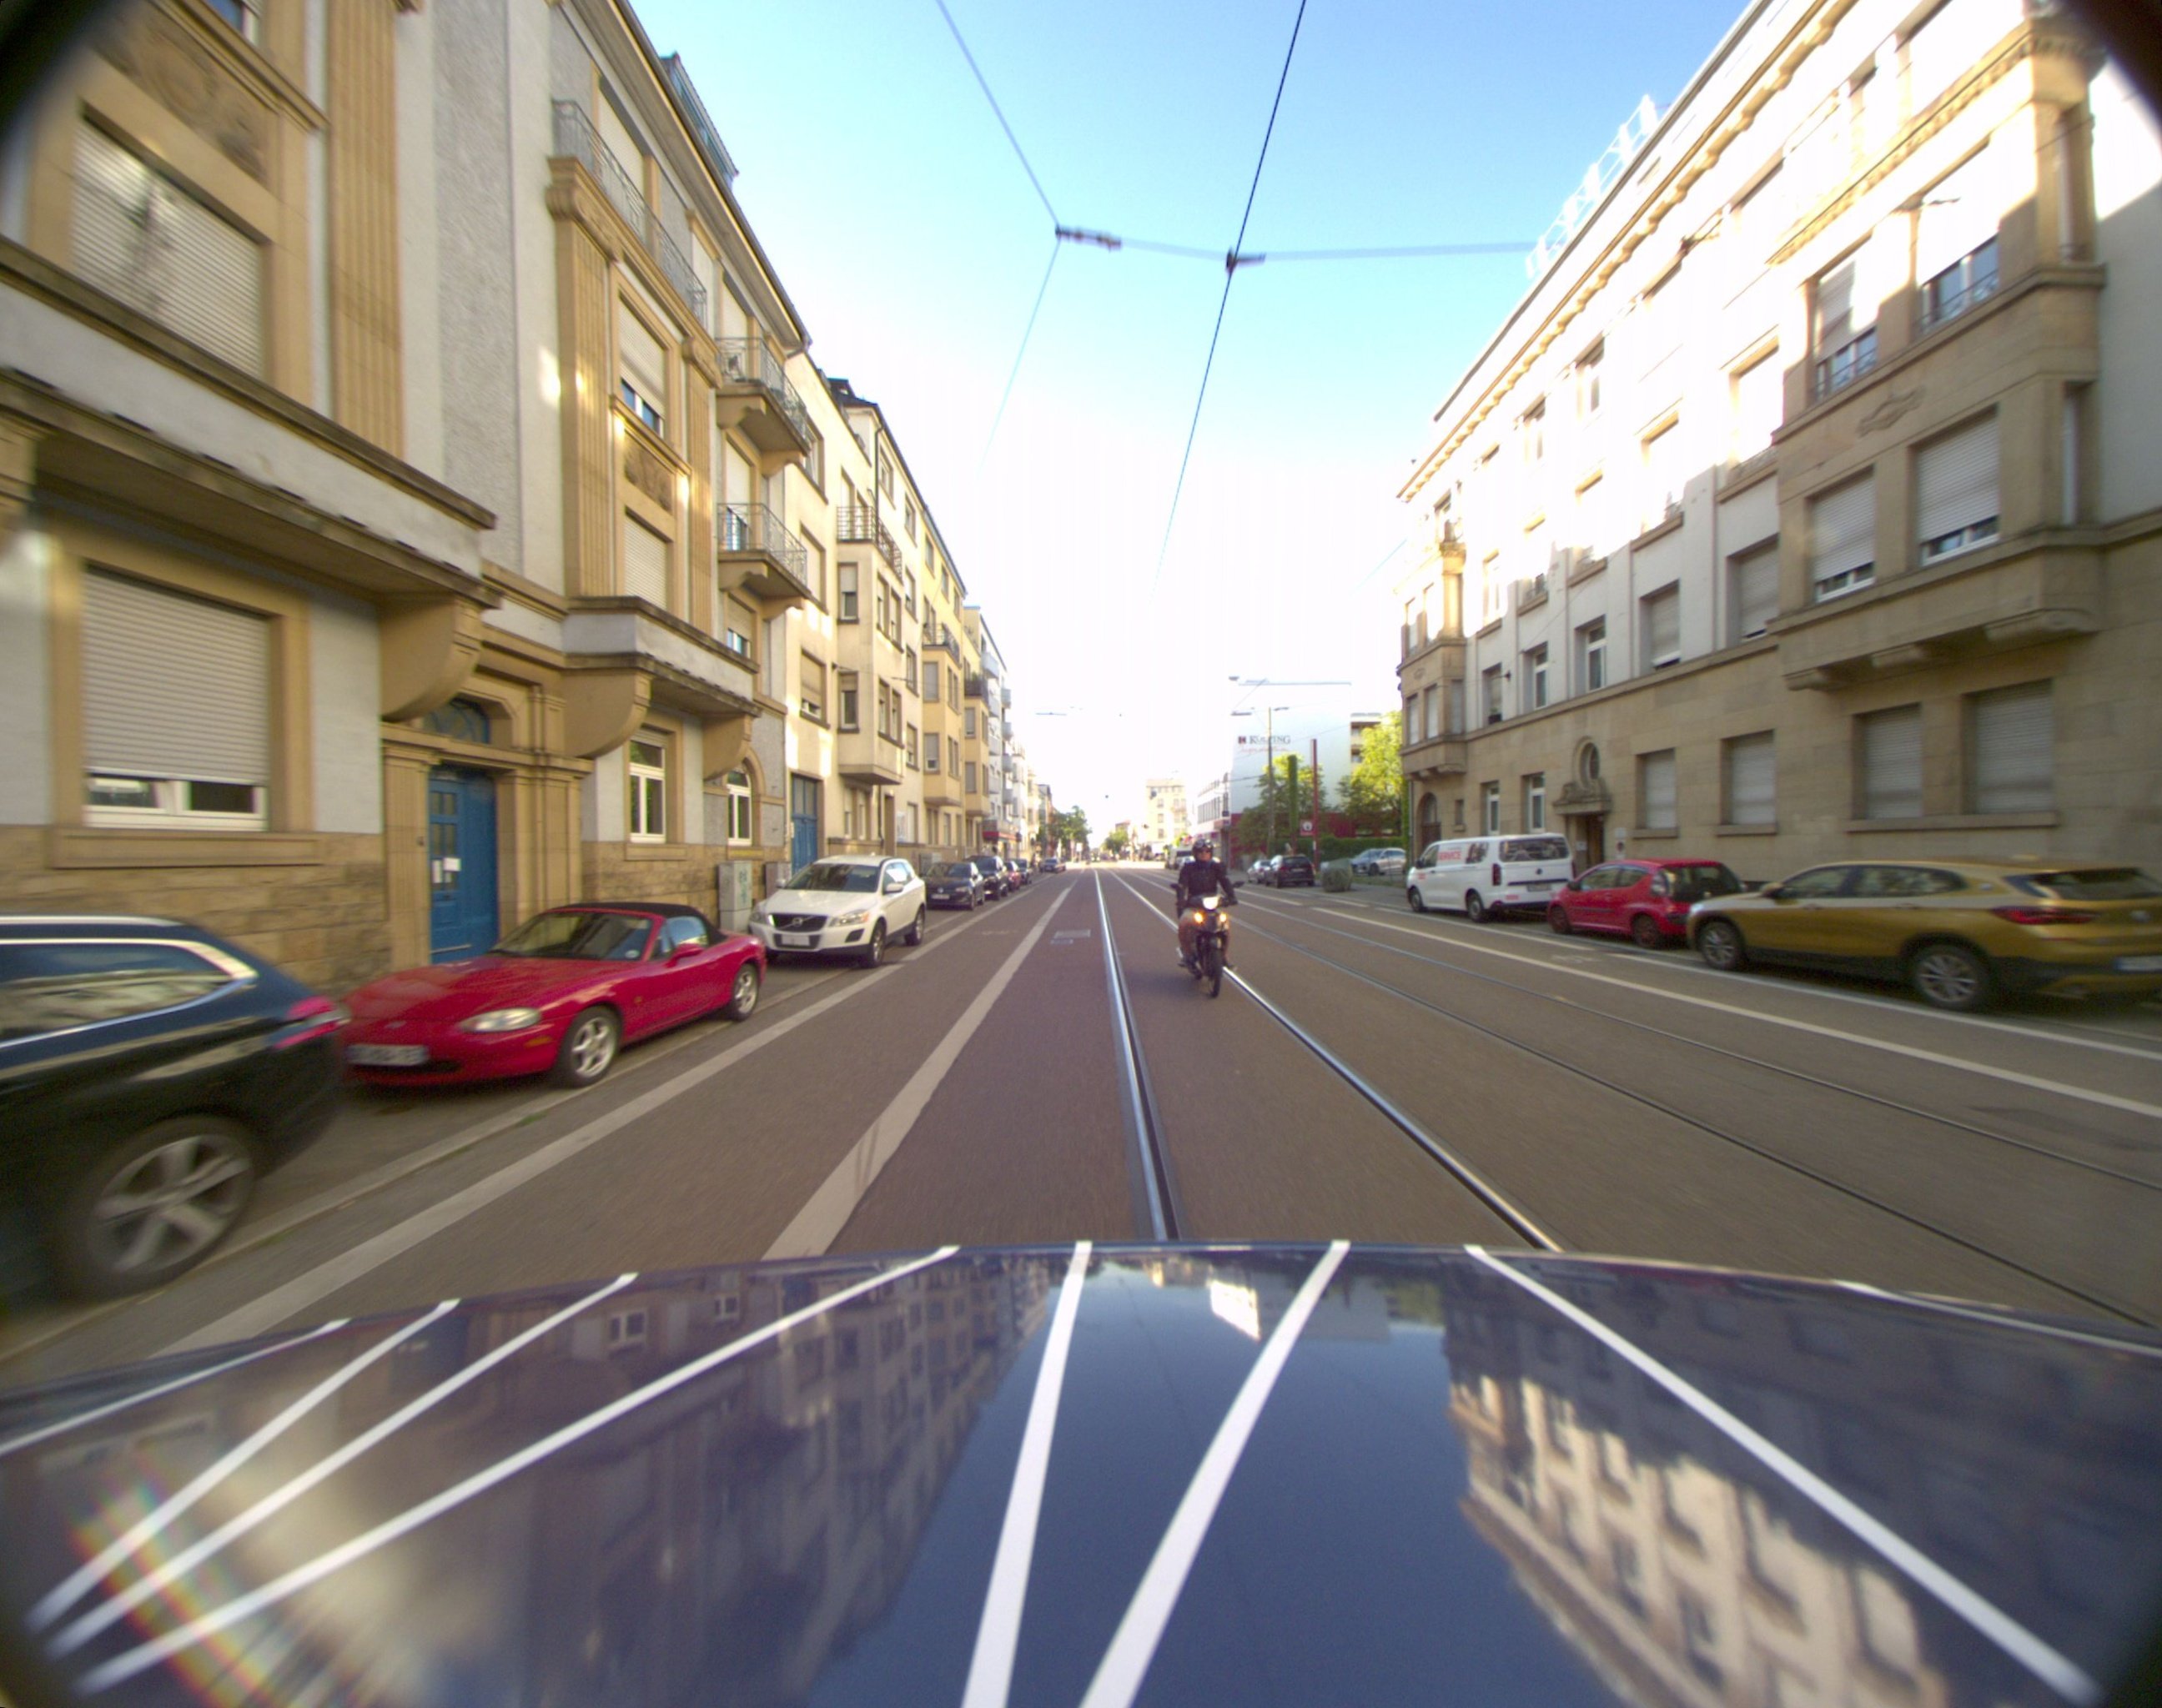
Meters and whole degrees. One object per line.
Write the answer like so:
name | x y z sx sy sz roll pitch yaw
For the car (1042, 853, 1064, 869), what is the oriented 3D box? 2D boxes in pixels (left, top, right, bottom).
car | -2.657 0.679 73.083 1.714 1.399 4.358 2 1 2

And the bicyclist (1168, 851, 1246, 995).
bicyclist | 1.403 0.742 8.608 0.774 1.531 0.939 -1 1 3

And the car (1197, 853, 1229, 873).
car | 10.556 0.655 61.055 1.787 1.437 4.841 -3 0 1

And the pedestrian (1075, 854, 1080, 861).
pedestrian | -0.643 0.675 140.978 0.774 1.197 0.610 -1 1 -7

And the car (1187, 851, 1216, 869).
car | 10.608 0.475 67.067 1.787 1.472 4.699 -3 0 1

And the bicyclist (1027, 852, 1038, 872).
bicyclist | -4.045 0.672 63.973 0.845 1.692 0.510 -1 1 0

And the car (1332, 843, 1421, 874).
car | 16.126 0.212 41.409 4.805 1.509 1.995 -1 1 -32

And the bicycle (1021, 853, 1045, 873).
bicycle | -4.032 0.756 64.048 1.935 1.701 0.775 -1 1 1

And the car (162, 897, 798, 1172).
car | -4.234 1.147 6.522 1.658 1.242 4.505 -1 1 4

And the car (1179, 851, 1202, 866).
car | 10.912 0.424 76.101 1.787 1.390 4.445 -3 0 2

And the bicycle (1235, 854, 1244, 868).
bicycle | 13.540 0.604 64.910 0.440 1.168 2.050 -1 1 2

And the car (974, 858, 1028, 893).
car | -3.701 0.977 36.080 1.863 1.447 4.710 -1 1 2

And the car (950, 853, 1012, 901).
car | -3.812 0.831 29.593 1.864 1.656 4.560 -1 1 -1

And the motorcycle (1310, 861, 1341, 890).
motorcycle | 10.436 0.899 32.382 0.739 1.164 2.184 -1 1 31

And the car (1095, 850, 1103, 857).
car | 4.319 -0.091 184.287 1.970 1.577 4.000 -1 0 1

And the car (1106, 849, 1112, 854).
car | 9.456 -0.777 259.392 1.970 1.577 4.000 -1 0 3

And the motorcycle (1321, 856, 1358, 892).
motorcycle | 10.375 0.780 30.438 0.884 1.343 1.961 -1 1 34

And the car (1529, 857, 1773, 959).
car | 9.851 0.833 13.517 1.606 1.464 3.646 -3 0 1

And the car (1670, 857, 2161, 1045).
car | 9.411 0.852 8.789 1.788 1.515 4.359 -3 0 0

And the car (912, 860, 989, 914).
car | -3.967 0.956 23.617 1.742 1.433 4.032 -1 1 -1

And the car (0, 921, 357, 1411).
car | -4.345 1.089 1.420 1.658 1.474 4.473 -1 1 0

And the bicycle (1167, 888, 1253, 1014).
bicycle | 1.409 1.029 8.610 0.767 1.191 1.752 -1 1 3

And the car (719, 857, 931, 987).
car | -3.916 0.935 12.542 1.847 1.681 4.504 -1 1 1

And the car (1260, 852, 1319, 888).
car | 10.099 0.738 37.108 1.787 1.556 4.611 -3 0 3

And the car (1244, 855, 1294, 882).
car | 10.380 0.764 42.305 1.787 1.306 4.221 -3 0 1

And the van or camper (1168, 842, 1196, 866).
van or camper | 11.013 -0.055 83.162 2.177 2.453 6.231 -3 0 0

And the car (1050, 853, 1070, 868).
car | -2.285 0.654 83.602 1.861 1.499 4.096 2 1 2

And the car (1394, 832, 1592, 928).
car | 9.791 0.524 18.674 1.978 1.937 5.251 -3 0 0

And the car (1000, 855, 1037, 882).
car | -3.571 0.818 44.212 1.722 1.482 4.001 0 1 1
